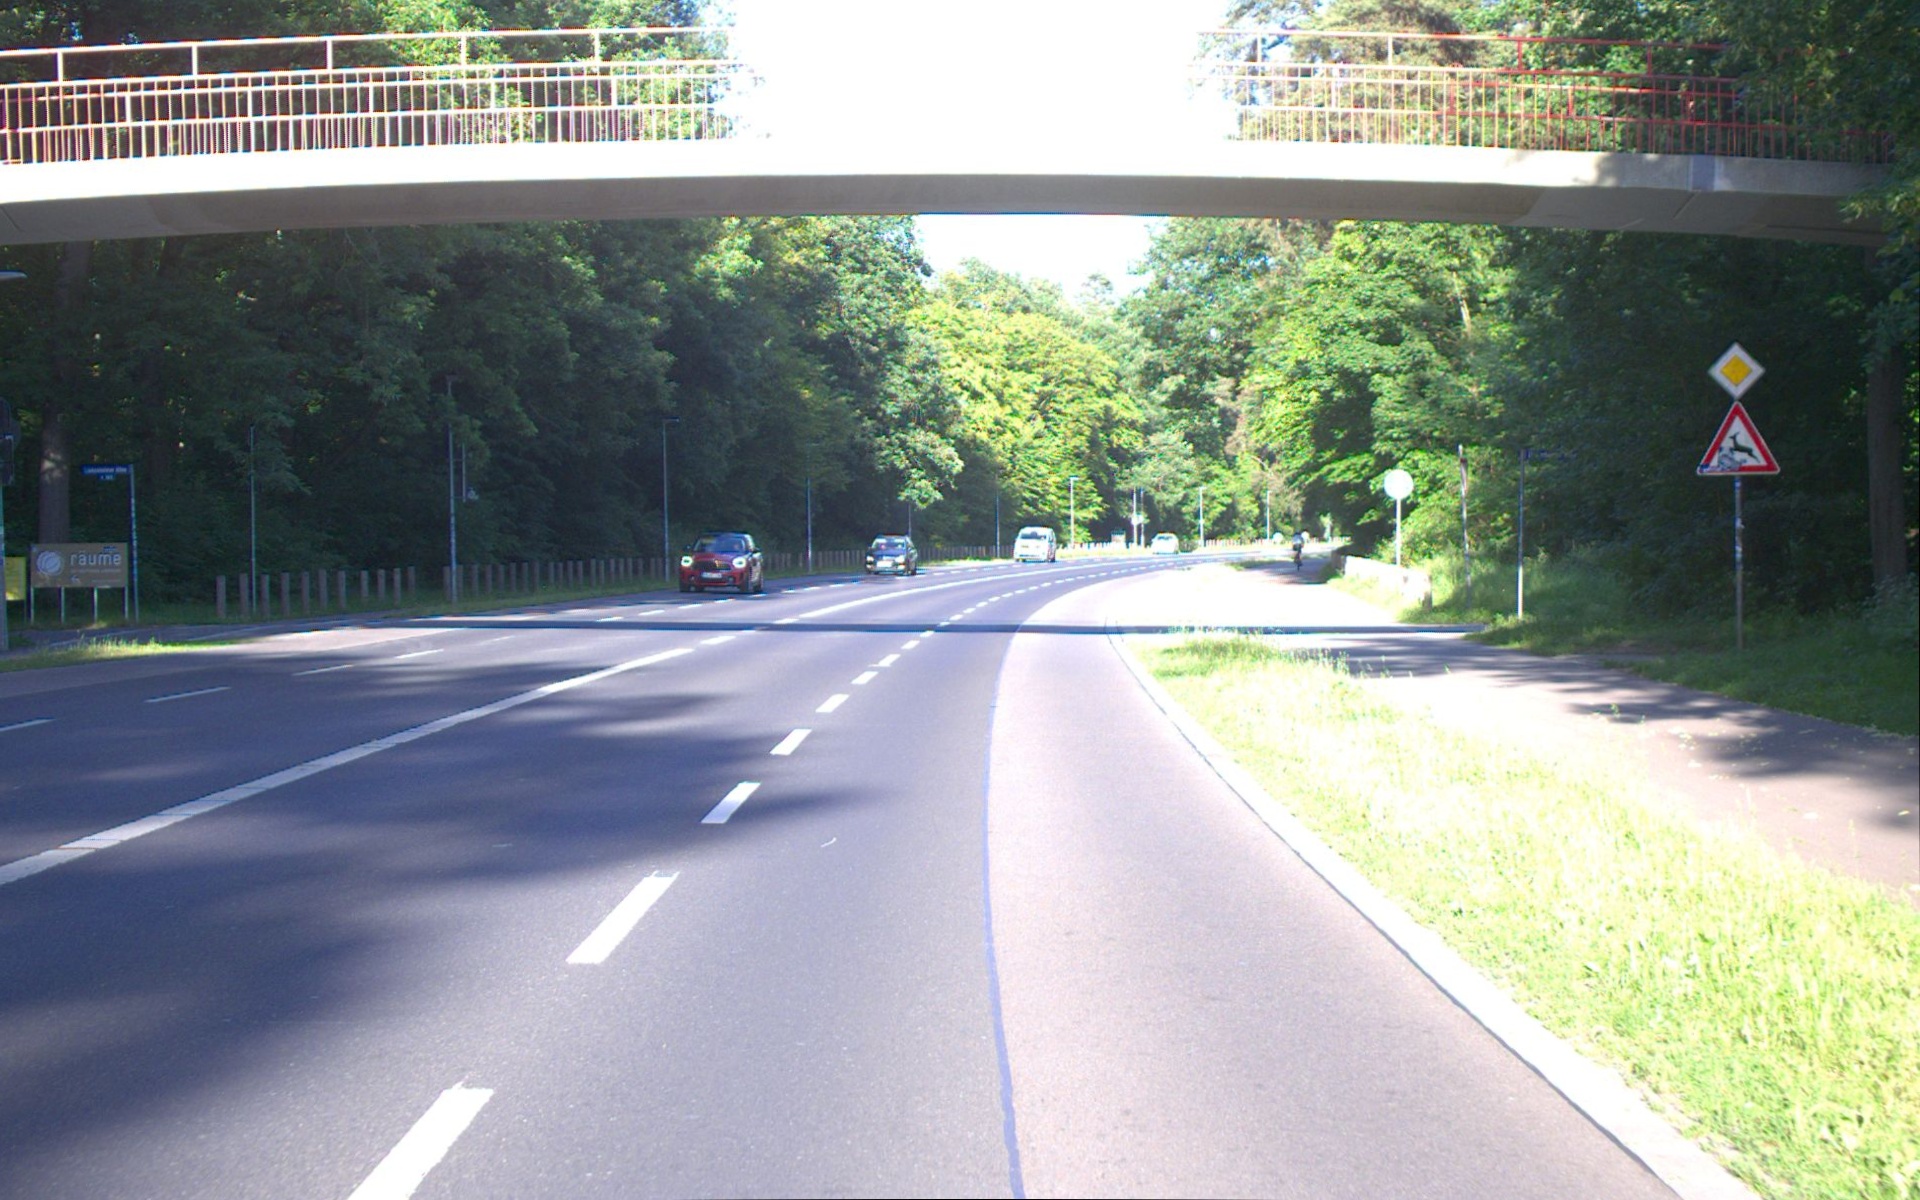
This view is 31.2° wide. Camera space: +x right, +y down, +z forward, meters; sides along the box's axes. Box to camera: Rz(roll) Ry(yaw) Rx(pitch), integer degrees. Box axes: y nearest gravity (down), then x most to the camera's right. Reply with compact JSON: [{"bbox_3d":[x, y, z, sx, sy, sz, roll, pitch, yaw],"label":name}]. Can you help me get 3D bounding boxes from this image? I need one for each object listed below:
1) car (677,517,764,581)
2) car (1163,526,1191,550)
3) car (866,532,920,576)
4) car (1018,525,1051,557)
[{"bbox_3d":[-6.217,-1.350,89.606,1.762,1.577,4.168,1,1,2],"label":"car"},{"bbox_3d":[15.854,-4.529,250.869,1.784,1.703,3.999,0,1,7],"label":"car"},{"bbox_3d":[-2.505,-1.755,129.646,1.722,1.568,4.177,2,2,3],"label":"car"},{"bbox_3d":[3.967,-3.129,181.763,1.705,1.703,4.000,0,1,2],"label":"car"}]
